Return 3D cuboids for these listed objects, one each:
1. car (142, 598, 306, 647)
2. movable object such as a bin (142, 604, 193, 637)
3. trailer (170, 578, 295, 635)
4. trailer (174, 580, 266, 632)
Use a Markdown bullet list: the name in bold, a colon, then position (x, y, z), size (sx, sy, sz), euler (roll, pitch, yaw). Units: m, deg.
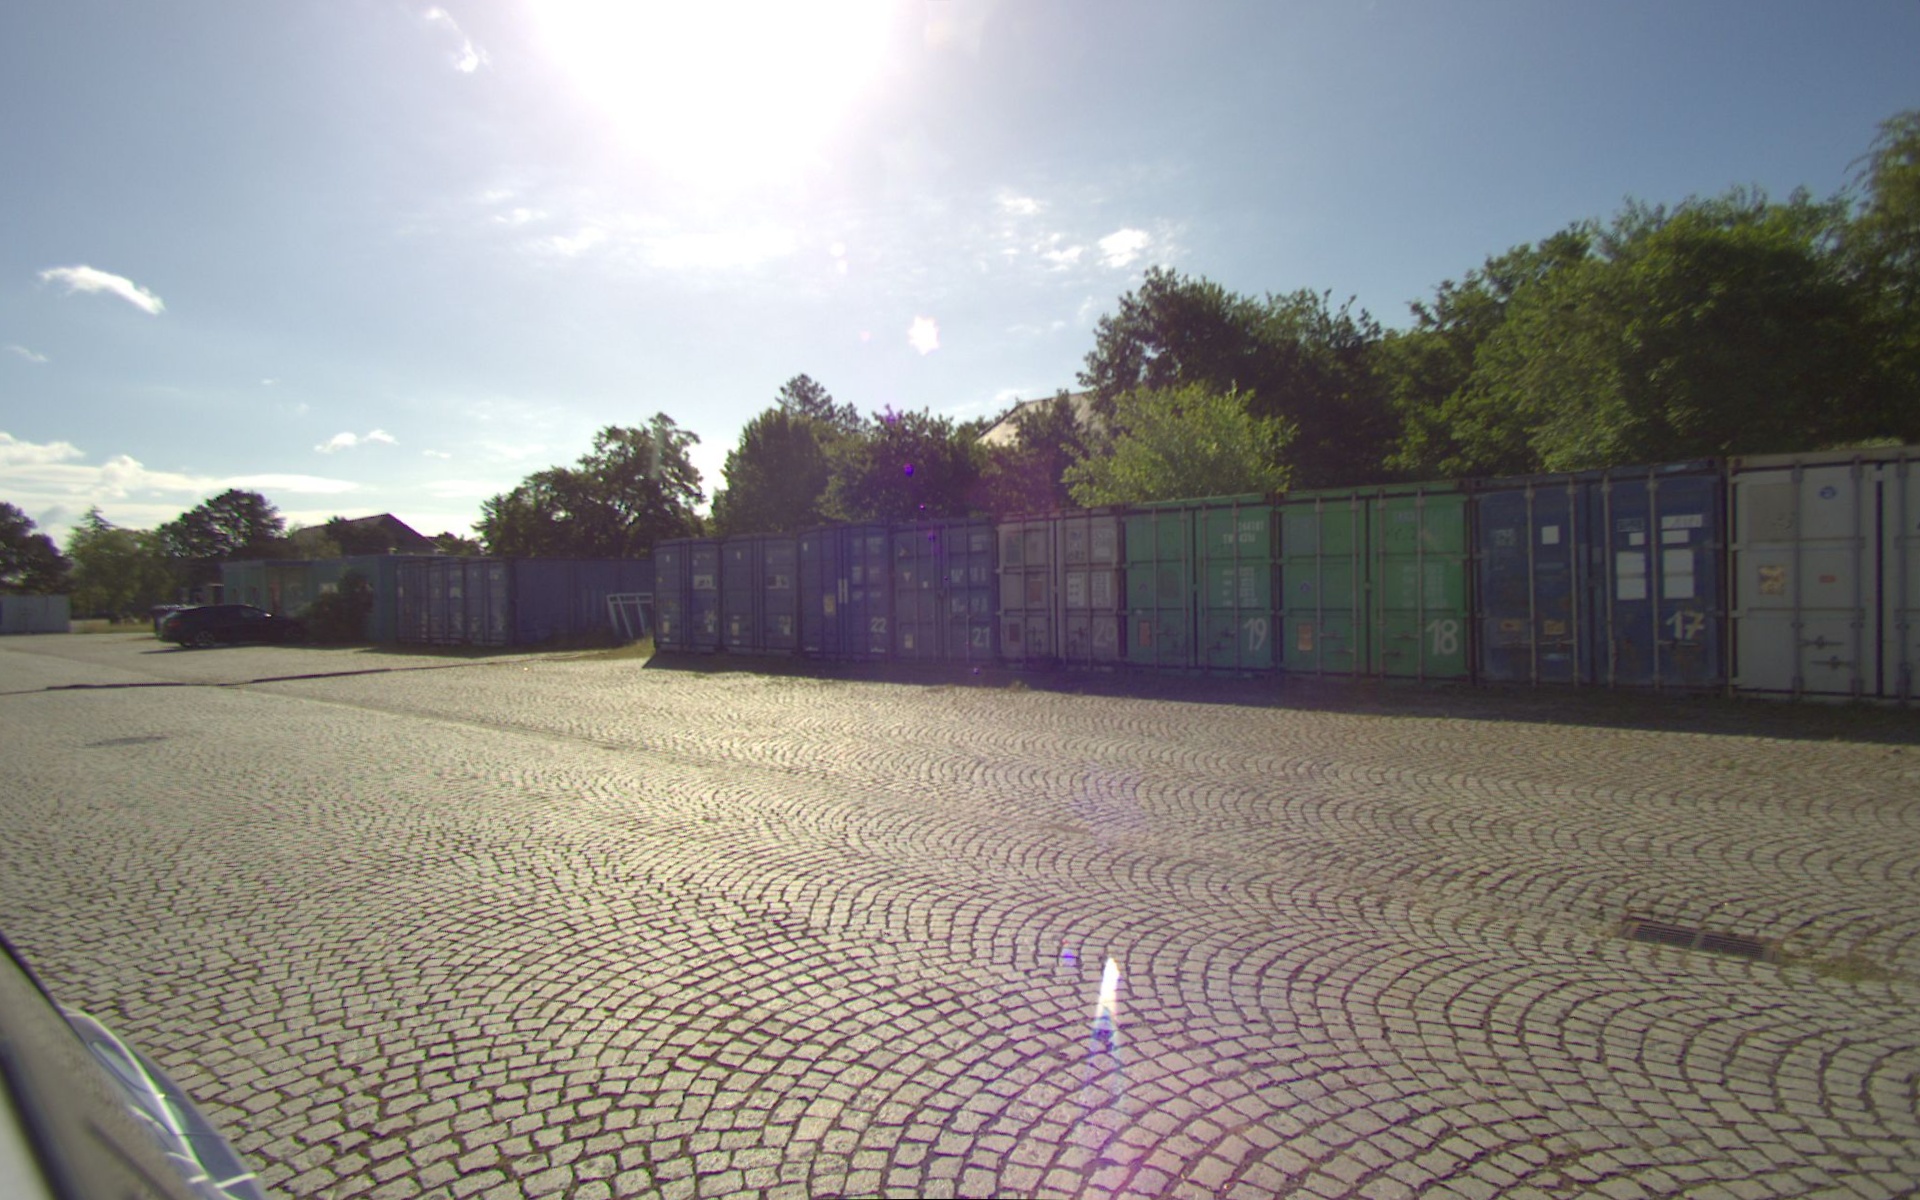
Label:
- **car**: position (-25.278, 0.717, 34.878), size (1.929, 1.460, 4.211), euler (0, 2, 38)
- **movable object such as a bin**: position (-36.647, 0.931, 46.804), size (1.416, 1.469, 1.158), euler (-1, 1, -7)
- **trailer**: position (-35.686, 0.281, 49.756), size (1.948, 2.587, 4.595), euler (0, 2, 36)
- **trailer**: position (-37.526, 0.277, 51.371), size (2.043, 2.488, 3.350), euler (0, 2, 41)
